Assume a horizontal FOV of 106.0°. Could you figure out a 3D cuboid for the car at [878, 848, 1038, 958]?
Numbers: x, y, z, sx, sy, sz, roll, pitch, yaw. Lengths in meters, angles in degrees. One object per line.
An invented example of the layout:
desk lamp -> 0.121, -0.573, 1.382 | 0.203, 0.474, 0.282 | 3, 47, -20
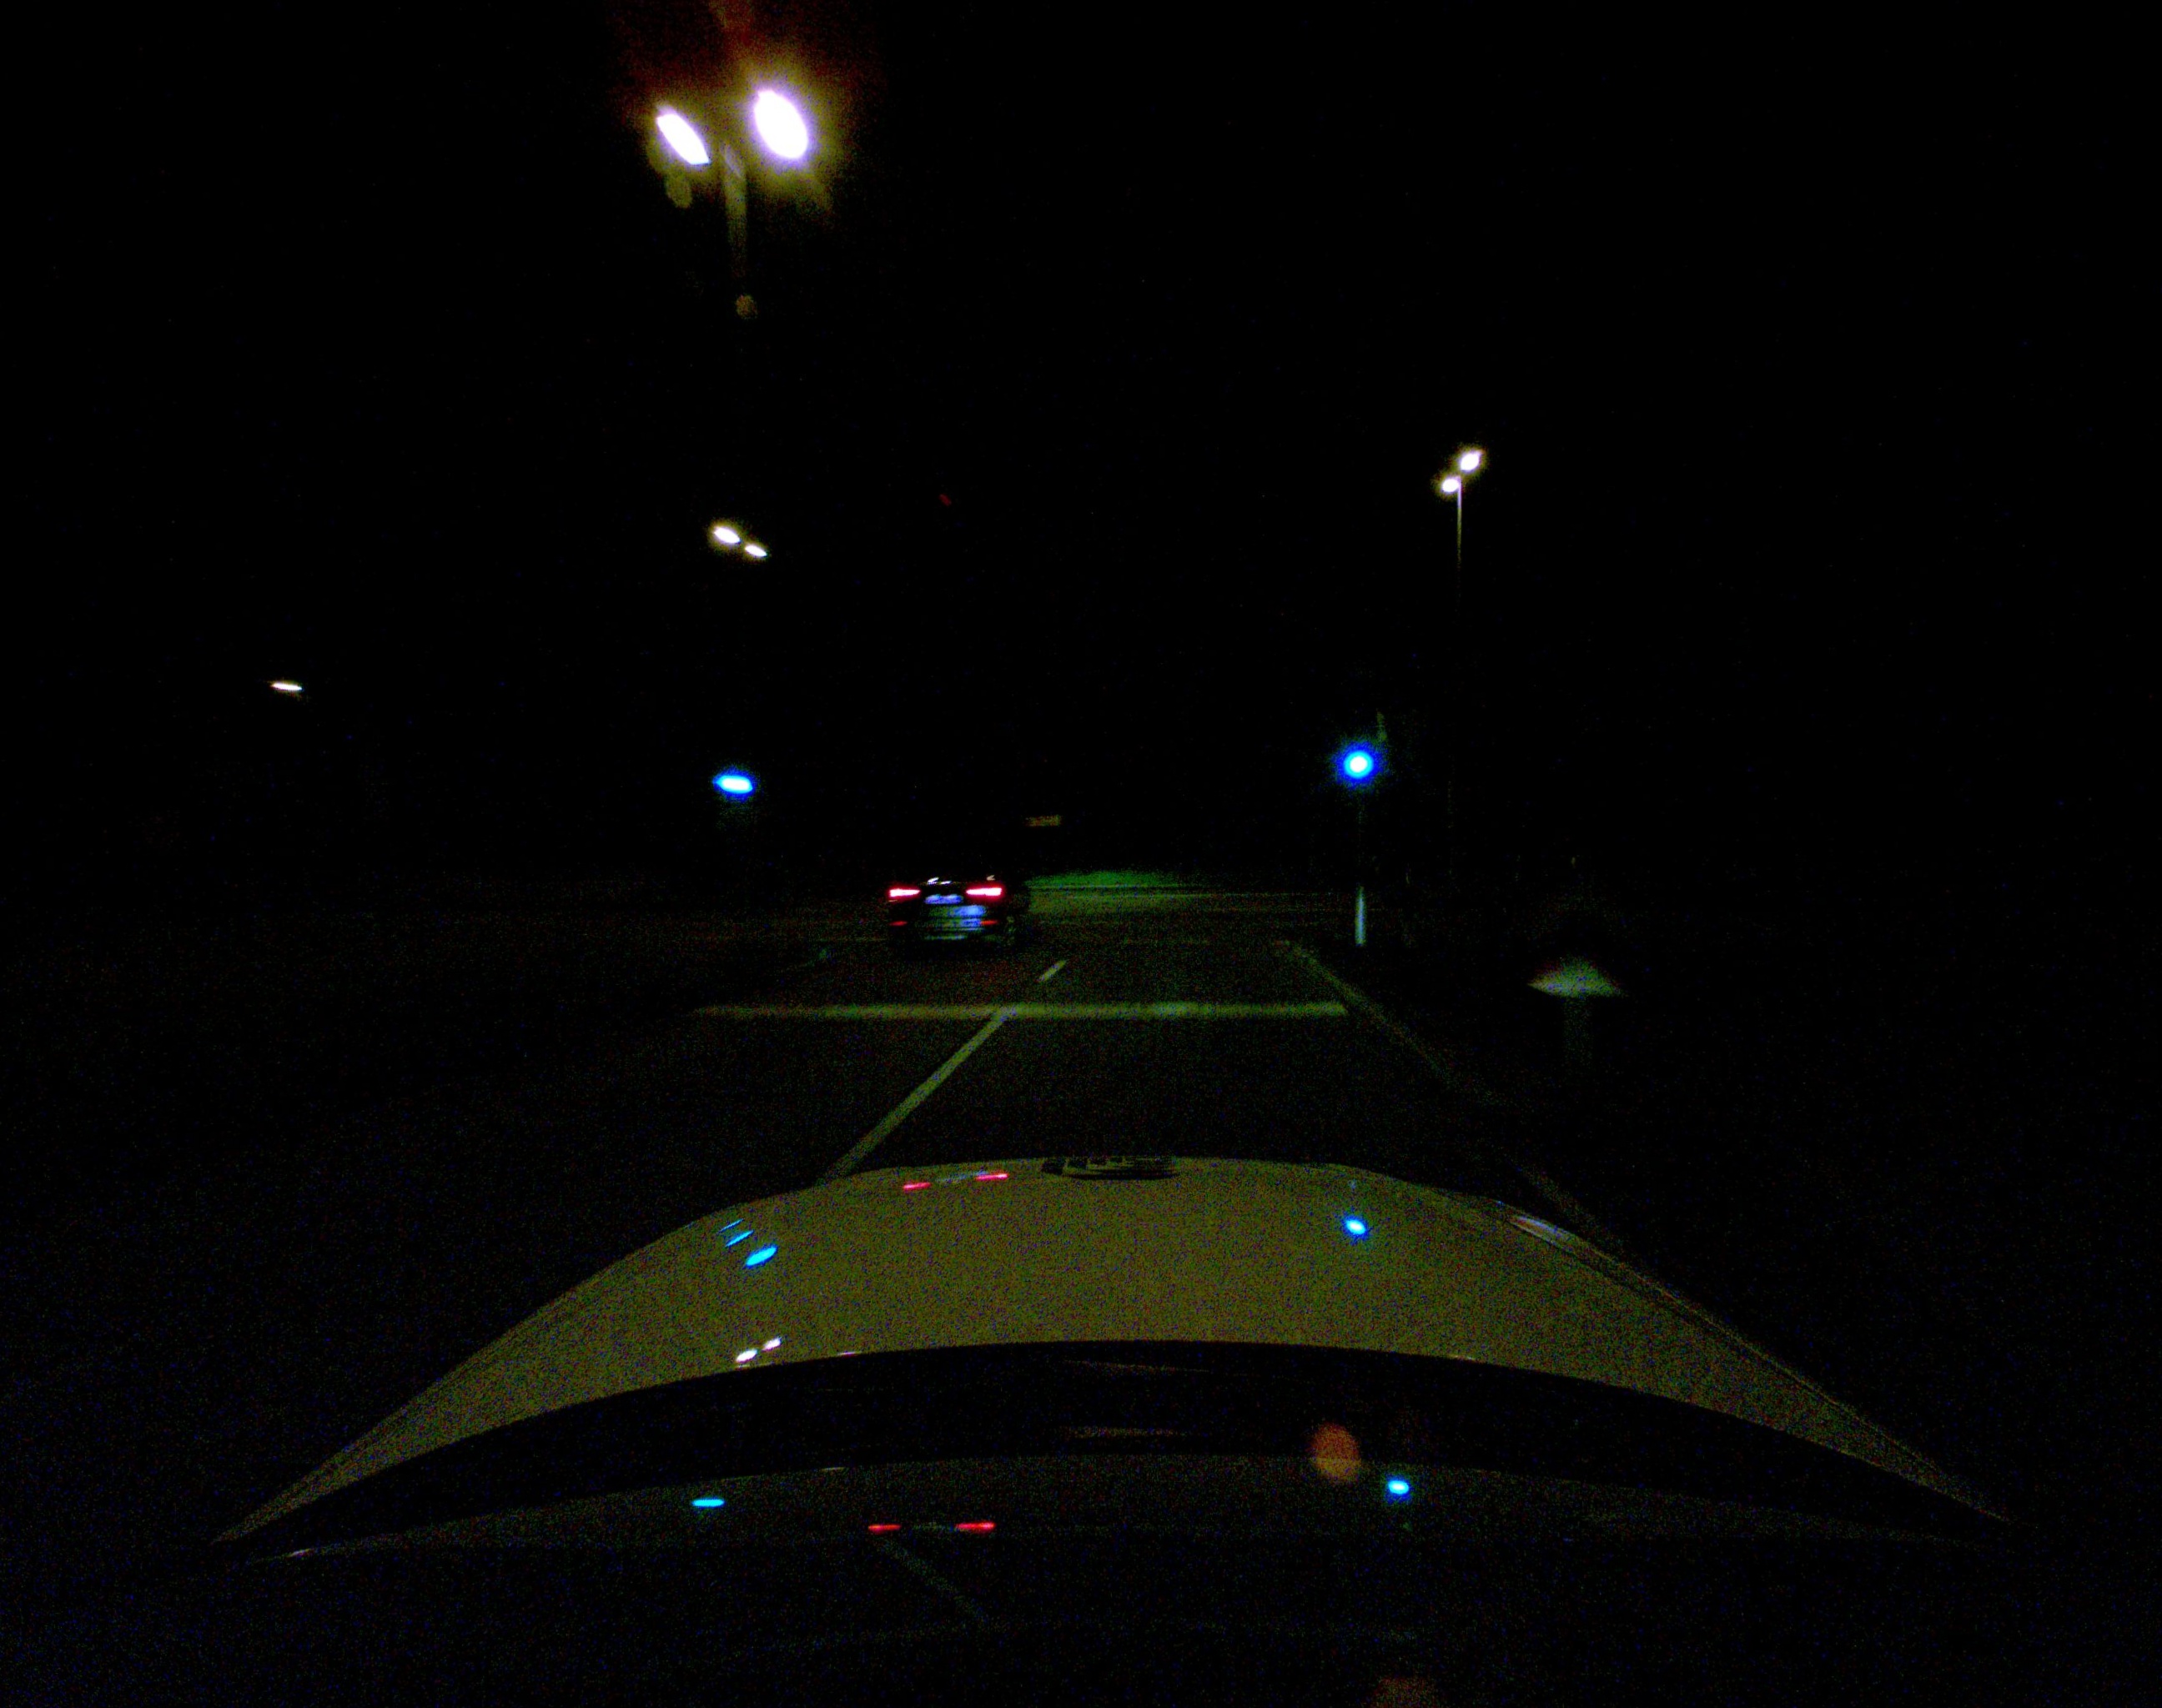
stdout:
car -> -1.882, 0.696, 13.716 | 1.844, 1.582, 4.011 | 0, 0, 3
